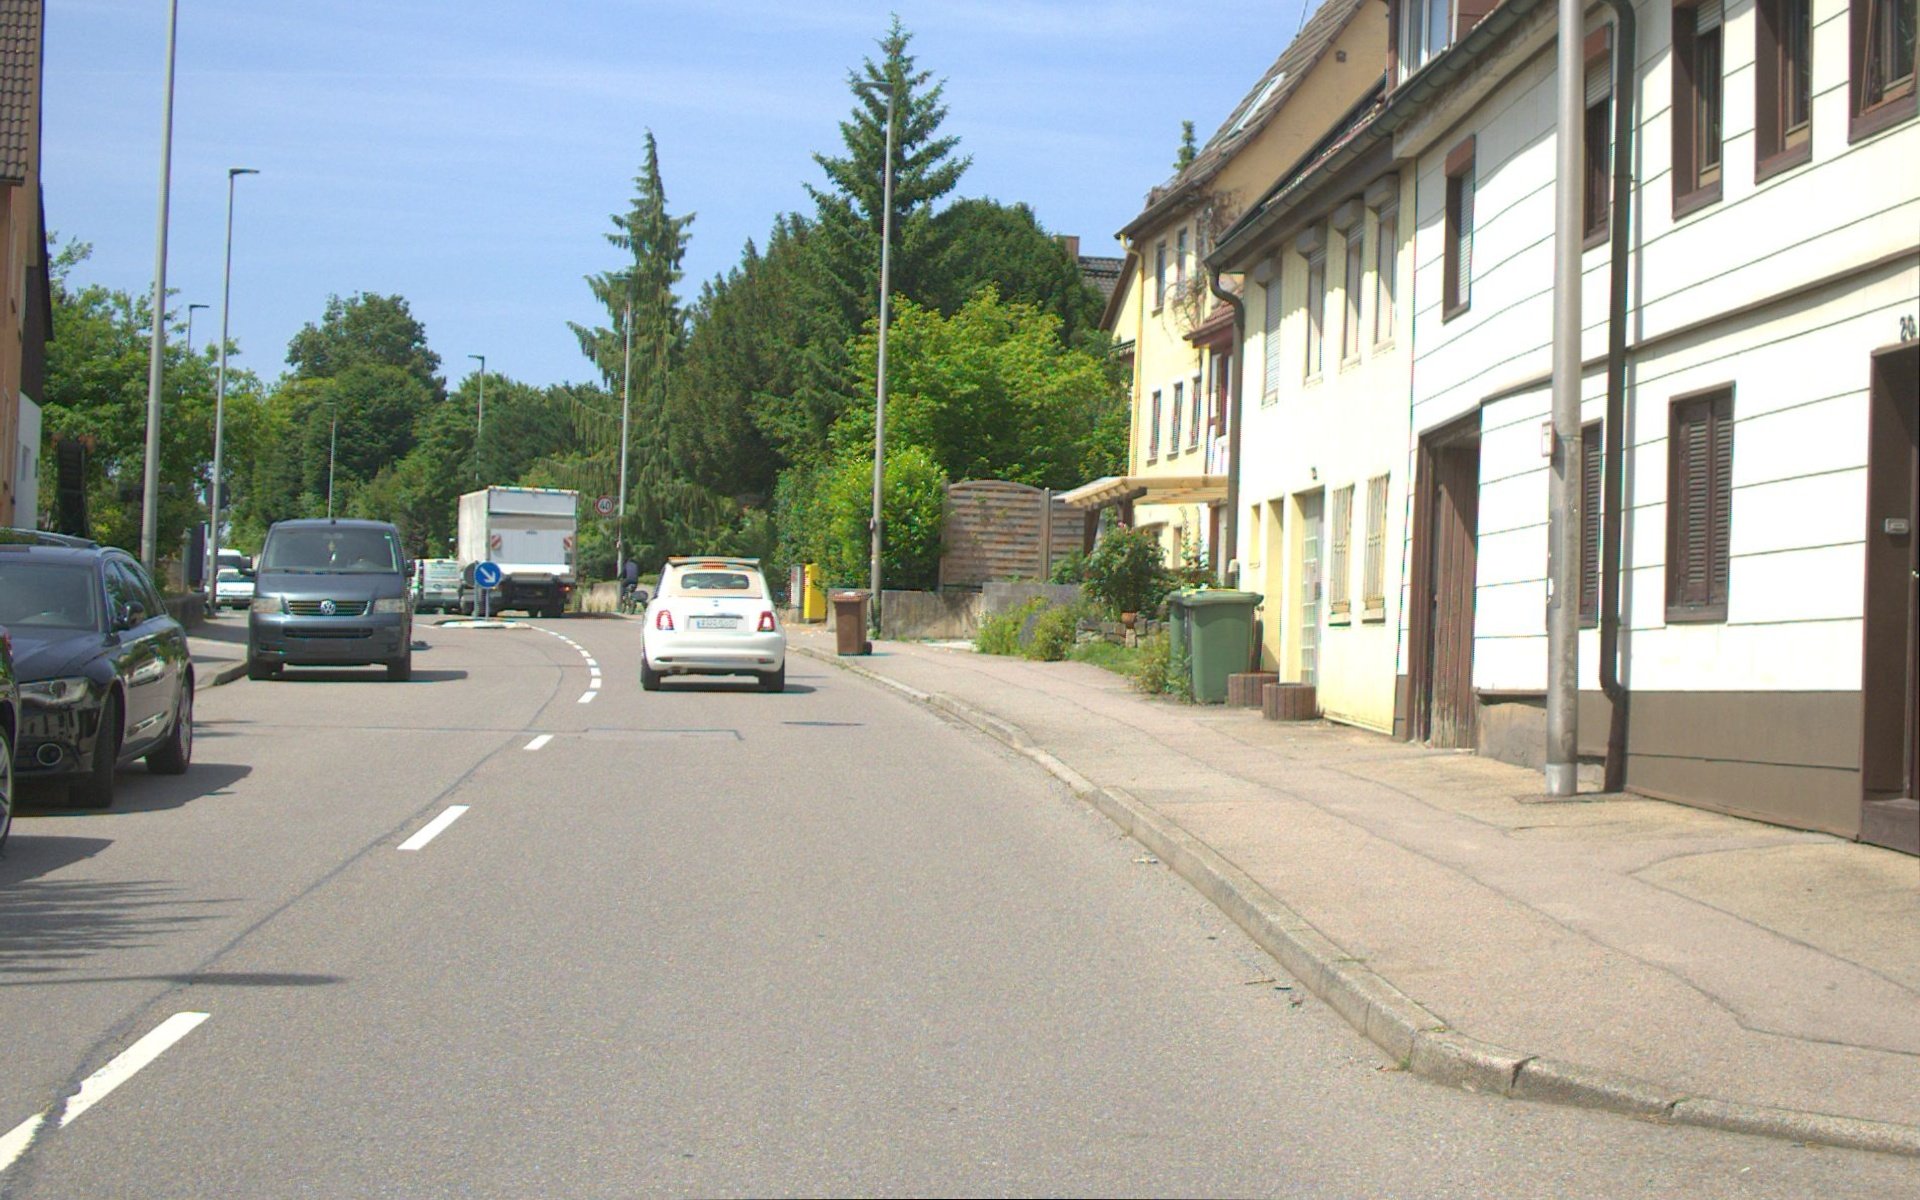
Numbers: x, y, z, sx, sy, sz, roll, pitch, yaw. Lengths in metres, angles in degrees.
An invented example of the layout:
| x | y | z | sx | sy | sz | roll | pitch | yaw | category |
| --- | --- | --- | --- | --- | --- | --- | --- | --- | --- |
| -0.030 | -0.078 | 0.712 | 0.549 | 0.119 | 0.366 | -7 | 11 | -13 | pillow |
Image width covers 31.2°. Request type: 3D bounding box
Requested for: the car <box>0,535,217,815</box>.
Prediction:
| x | y | z | sx | sy | sz | roll | pitch | yaw | category |
| --- | --- | --- | --- | --- | --- | --- | --- | --- | --- |
| -5.731 | 0.358 | 20.698 | 1.819 | 1.468 | 4.776 | 1 | 1 | -5 | car |

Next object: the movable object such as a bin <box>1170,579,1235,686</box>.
| x | y | z | sx | sy | sz | roll | pitch | yaw | category |
| --- | --- | --- | --- | --- | --- | --- | --- | --- | --- |
| 2.408 | 0.320 | 34.208 | 0.546 | 1.030 | 0.551 | -1 | 1 | -4 | movable object such as a bin |

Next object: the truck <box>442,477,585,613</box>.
| x | y | z | sx | sy | sz | roll | pitch | yaw | category |
| --- | --- | --- | --- | --- | --- | --- | --- | --- | --- |
| -13.027 | -1.539 | 99.727 | 3.067 | 3.761 | 7.870 | 1 | 0 | -15 | truck |

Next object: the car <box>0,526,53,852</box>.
| x | y | z | sx | sy | sz | roll | pitch | yaw | category |
| --- | --- | --- | --- | --- | --- | --- | --- | --- | --- |
| -5.335 | 0.432 | 14.778 | 1.755 | 1.516 | 4.301 | 1 | 1 | 0 | car |

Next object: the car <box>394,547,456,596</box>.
| x | y | z | sx | sy | sz | roll | pitch | yaw | category |
| --- | --- | --- | --- | --- | --- | --- | --- | --- | --- |
| -19.694 | -1.065 | 126.494 | 1.534 | 1.664 | 4.001 | 3 | 1 | -18 | car |

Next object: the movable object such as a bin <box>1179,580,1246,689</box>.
| x | y | z | sx | sy | sz | roll | pitch | yaw | category |
| --- | --- | --- | --- | --- | --- | --- | --- | --- | --- |
| 2.465 | 0.334 | 33.608 | 0.546 | 1.030 | 0.551 | -1 | 1 | -4 | movable object such as a bin |

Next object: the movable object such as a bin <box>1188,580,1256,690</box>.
| x | y | z | sx | sy | sz | roll | pitch | yaw | category |
| --- | --- | --- | --- | --- | --- | --- | --- | --- | --- |
| 2.514 | 0.333 | 33.005 | 0.546 | 1.030 | 0.551 | -1 | 1 | -4 | movable object such as a bin |

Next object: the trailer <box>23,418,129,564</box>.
| x | y | z | sx | sy | sz | roll | pitch | yaw | category |
| --- | --- | --- | --- | --- | --- | --- | --- | --- | --- |
| -18.254 | -2.197 | 71.211 | 1.711 | 2.839 | 6.176 | 2 | 0 | -11 | trailer |

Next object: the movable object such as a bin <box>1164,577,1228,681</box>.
| x | y | z | sx | sy | sz | roll | pitch | yaw | category |
| --- | --- | --- | --- | --- | --- | --- | --- | --- | --- |
| 2.386 | 0.288 | 34.805 | 0.546 | 1.030 | 0.551 | -1 | 1 | -4 | movable object such as a bin |

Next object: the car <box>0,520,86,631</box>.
| x | y | z | sx | sy | sz | roll | pitch | yaw | category |
| --- | --- | --- | --- | --- | --- | --- | --- | --- | --- |
| -14.249 | -0.486 | 47.110 | 4.227 | 1.400 | 1.822 | 5 | 0 | -12 | car |

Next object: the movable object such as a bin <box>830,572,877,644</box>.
| x | y | z | sx | sy | sz | roll | pitch | yaw | category |
| --- | --- | --- | --- | --- | --- | --- | --- | --- | --- |
| -1.568 | 0.117 | 50.704 | 0.494 | 1.030 | 0.548 | -2 | 1 | 16 | movable object such as a bin |

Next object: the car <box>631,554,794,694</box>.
| x | y | z | sx | sy | sz | roll | pitch | yaw | category |
| --- | --- | --- | --- | --- | --- | --- | --- | --- | --- |
| -2.854 | 0.249 | 40.322 | 1.725 | 1.555 | 4.000 | 0 | 0 | -1 | car |

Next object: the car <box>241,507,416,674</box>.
| x | y | z | sx | sy | sz | roll | pitch | yaw | category |
| --- | --- | --- | --- | --- | --- | --- | --- | --- | --- |
| -7.704 | -0.132 | 42.298 | 1.890 | 1.931 | 4.987 | 0 | 0 | -8 | car |

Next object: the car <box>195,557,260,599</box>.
| x | y | z | sx | sy | sz | roll | pitch | yaw | category |
| --- | --- | --- | --- | --- | --- | --- | --- | --- | --- |
| -25.654 | -0.774 | 120.336 | 1.804 | 1.393 | 4.001 | 1 | 0 | -18 | car |
